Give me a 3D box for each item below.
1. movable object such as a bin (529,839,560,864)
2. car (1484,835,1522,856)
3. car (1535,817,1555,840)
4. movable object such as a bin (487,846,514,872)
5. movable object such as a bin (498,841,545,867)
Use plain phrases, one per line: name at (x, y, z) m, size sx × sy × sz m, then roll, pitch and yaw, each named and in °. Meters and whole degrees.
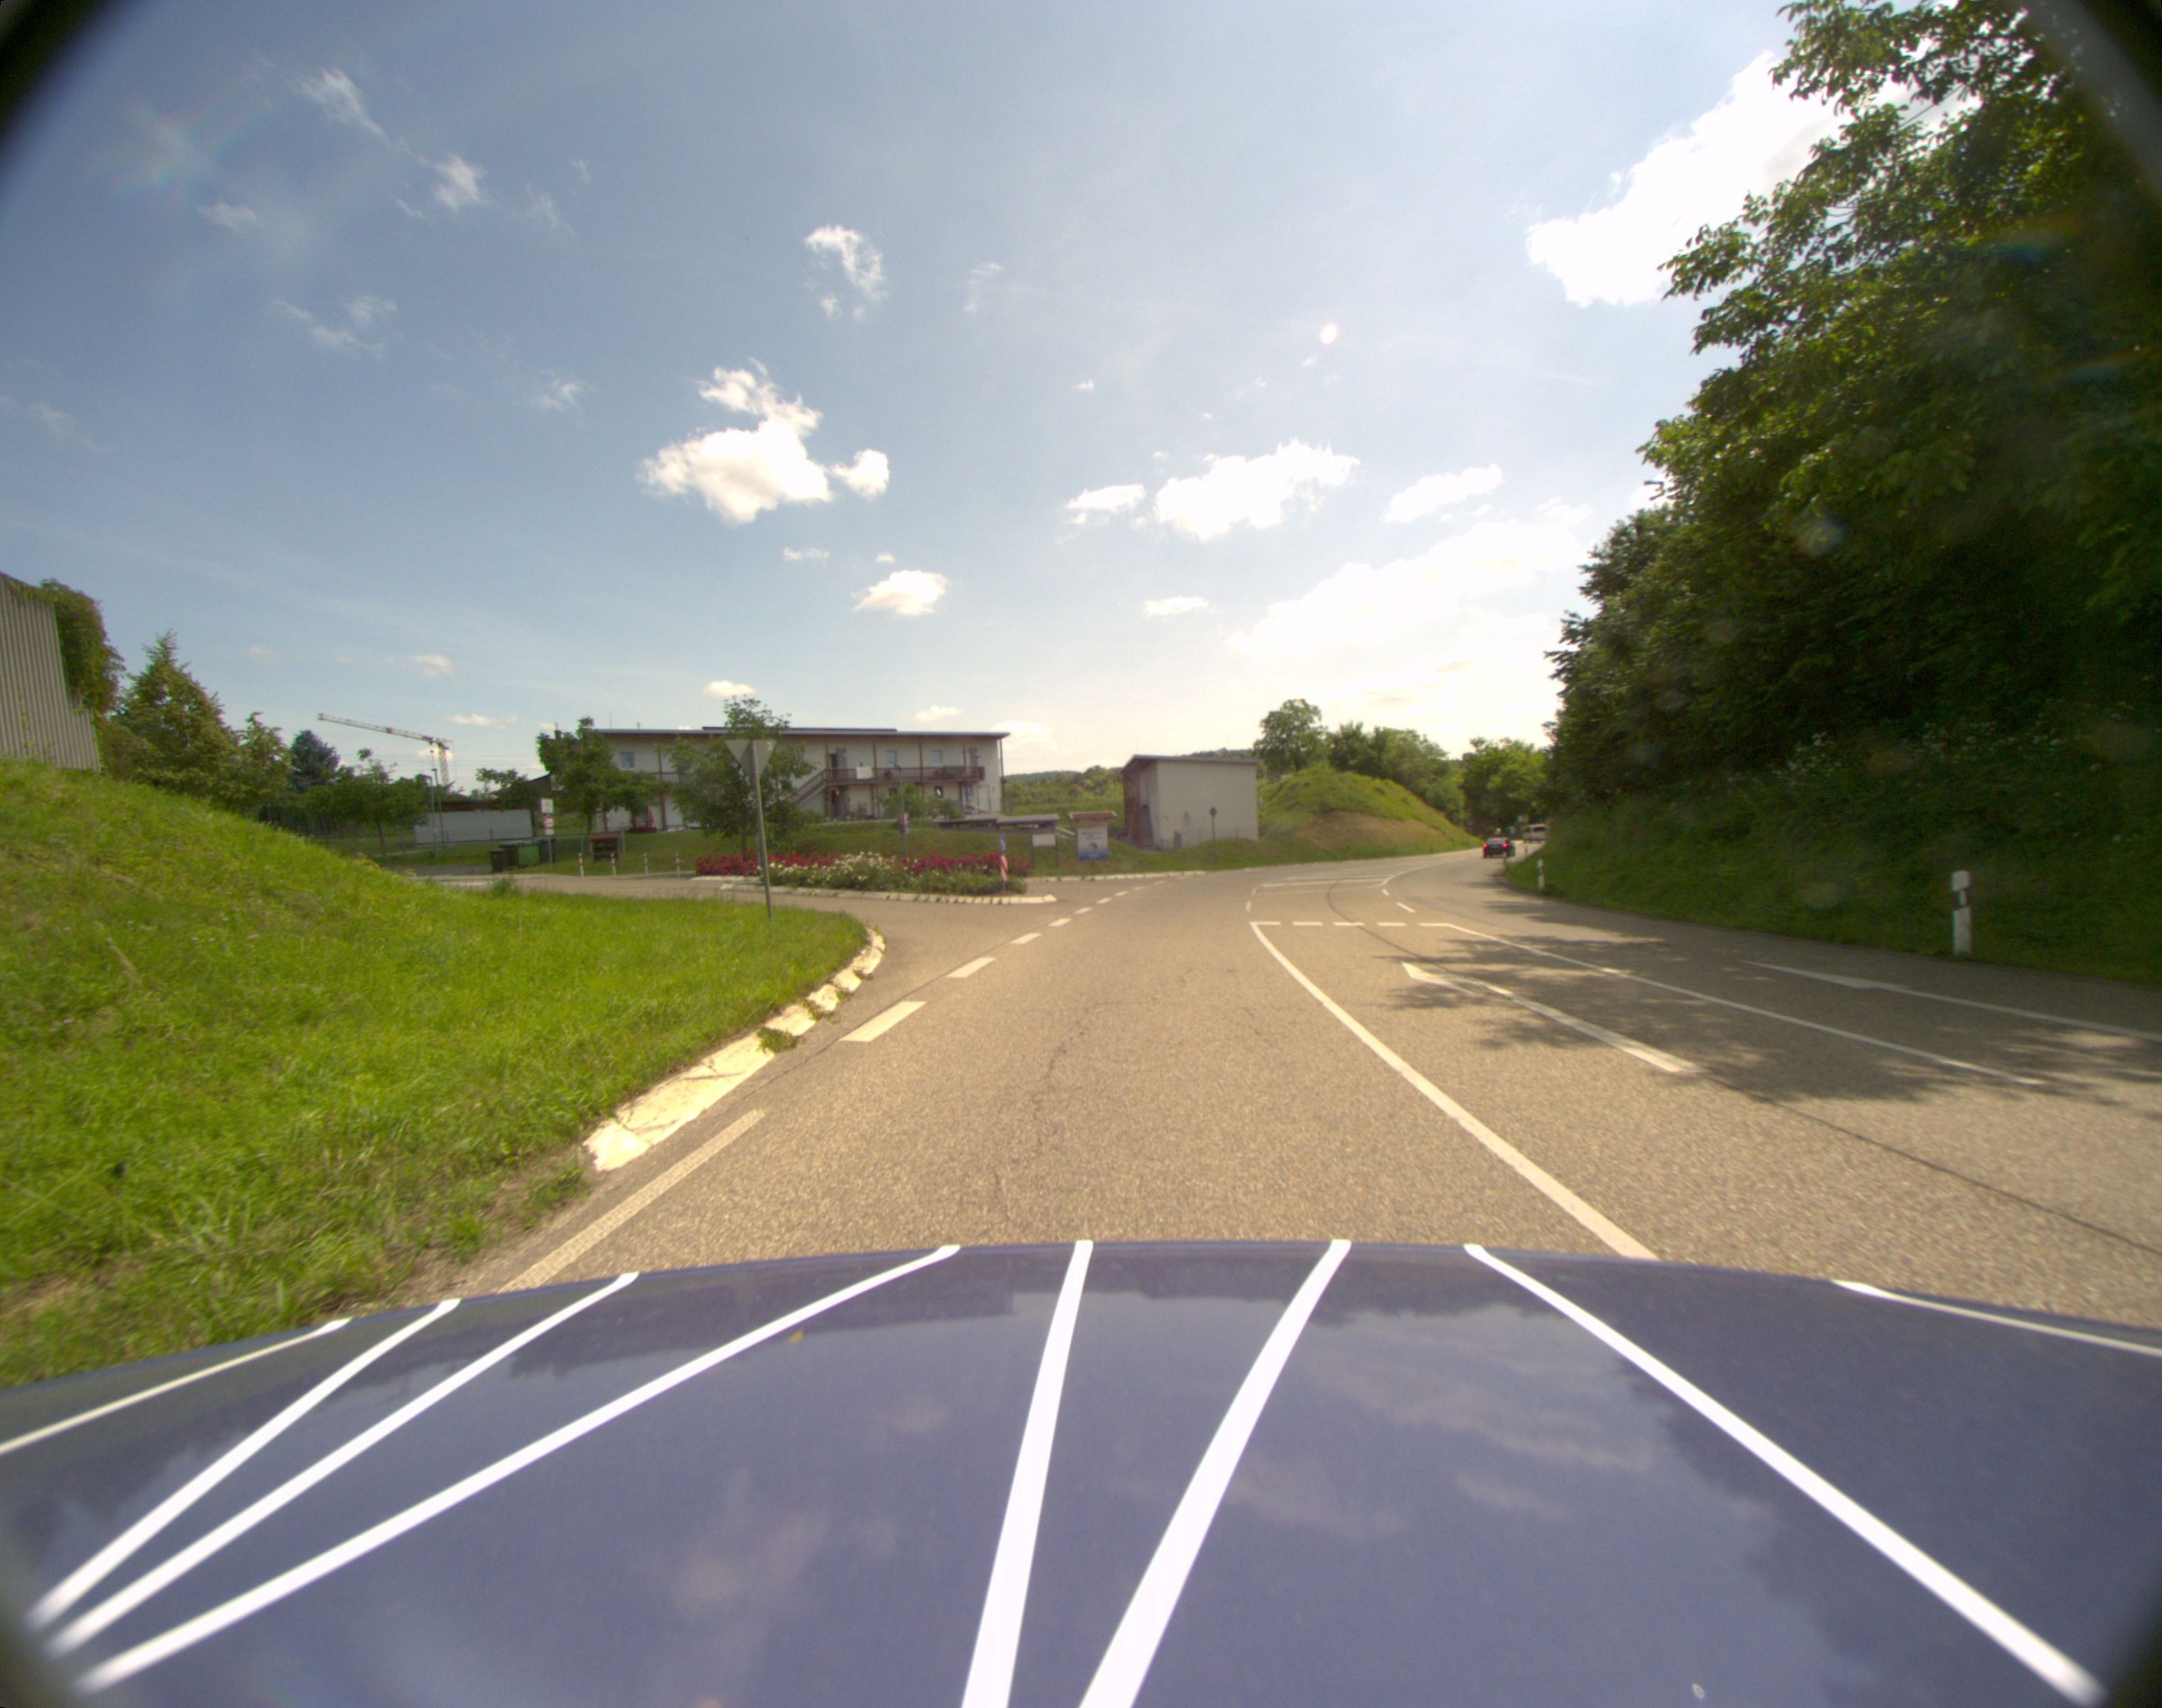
movable object such as a bin at (-25.535, -0.103, 36.154) m, size 0.759 × 1.111 × 0.793 m, roll -5°, pitch 1°, yaw 12°
car at (31.263, -0.657, 56.247) m, size 1.685 × 1.412 × 4.353 m, roll 2°, pitch 2°, yaw 39°
car at (59.762, -3.308, 97.845) m, size 2.086 × 2.280 × 5.951 m, roll 1°, pitch 8°, yaw 32°
movable object such as a bin at (-25.996, 0.216, 34.025) m, size 0.624 × 1.074 × 0.627 m, roll -5°, pitch 1°, yaw 12°
movable object such as a bin at (-25.763, -0.004, 35.028) m, size 0.966 × 1.096 × 1.367 m, roll -5°, pitch 1°, yaw 12°
